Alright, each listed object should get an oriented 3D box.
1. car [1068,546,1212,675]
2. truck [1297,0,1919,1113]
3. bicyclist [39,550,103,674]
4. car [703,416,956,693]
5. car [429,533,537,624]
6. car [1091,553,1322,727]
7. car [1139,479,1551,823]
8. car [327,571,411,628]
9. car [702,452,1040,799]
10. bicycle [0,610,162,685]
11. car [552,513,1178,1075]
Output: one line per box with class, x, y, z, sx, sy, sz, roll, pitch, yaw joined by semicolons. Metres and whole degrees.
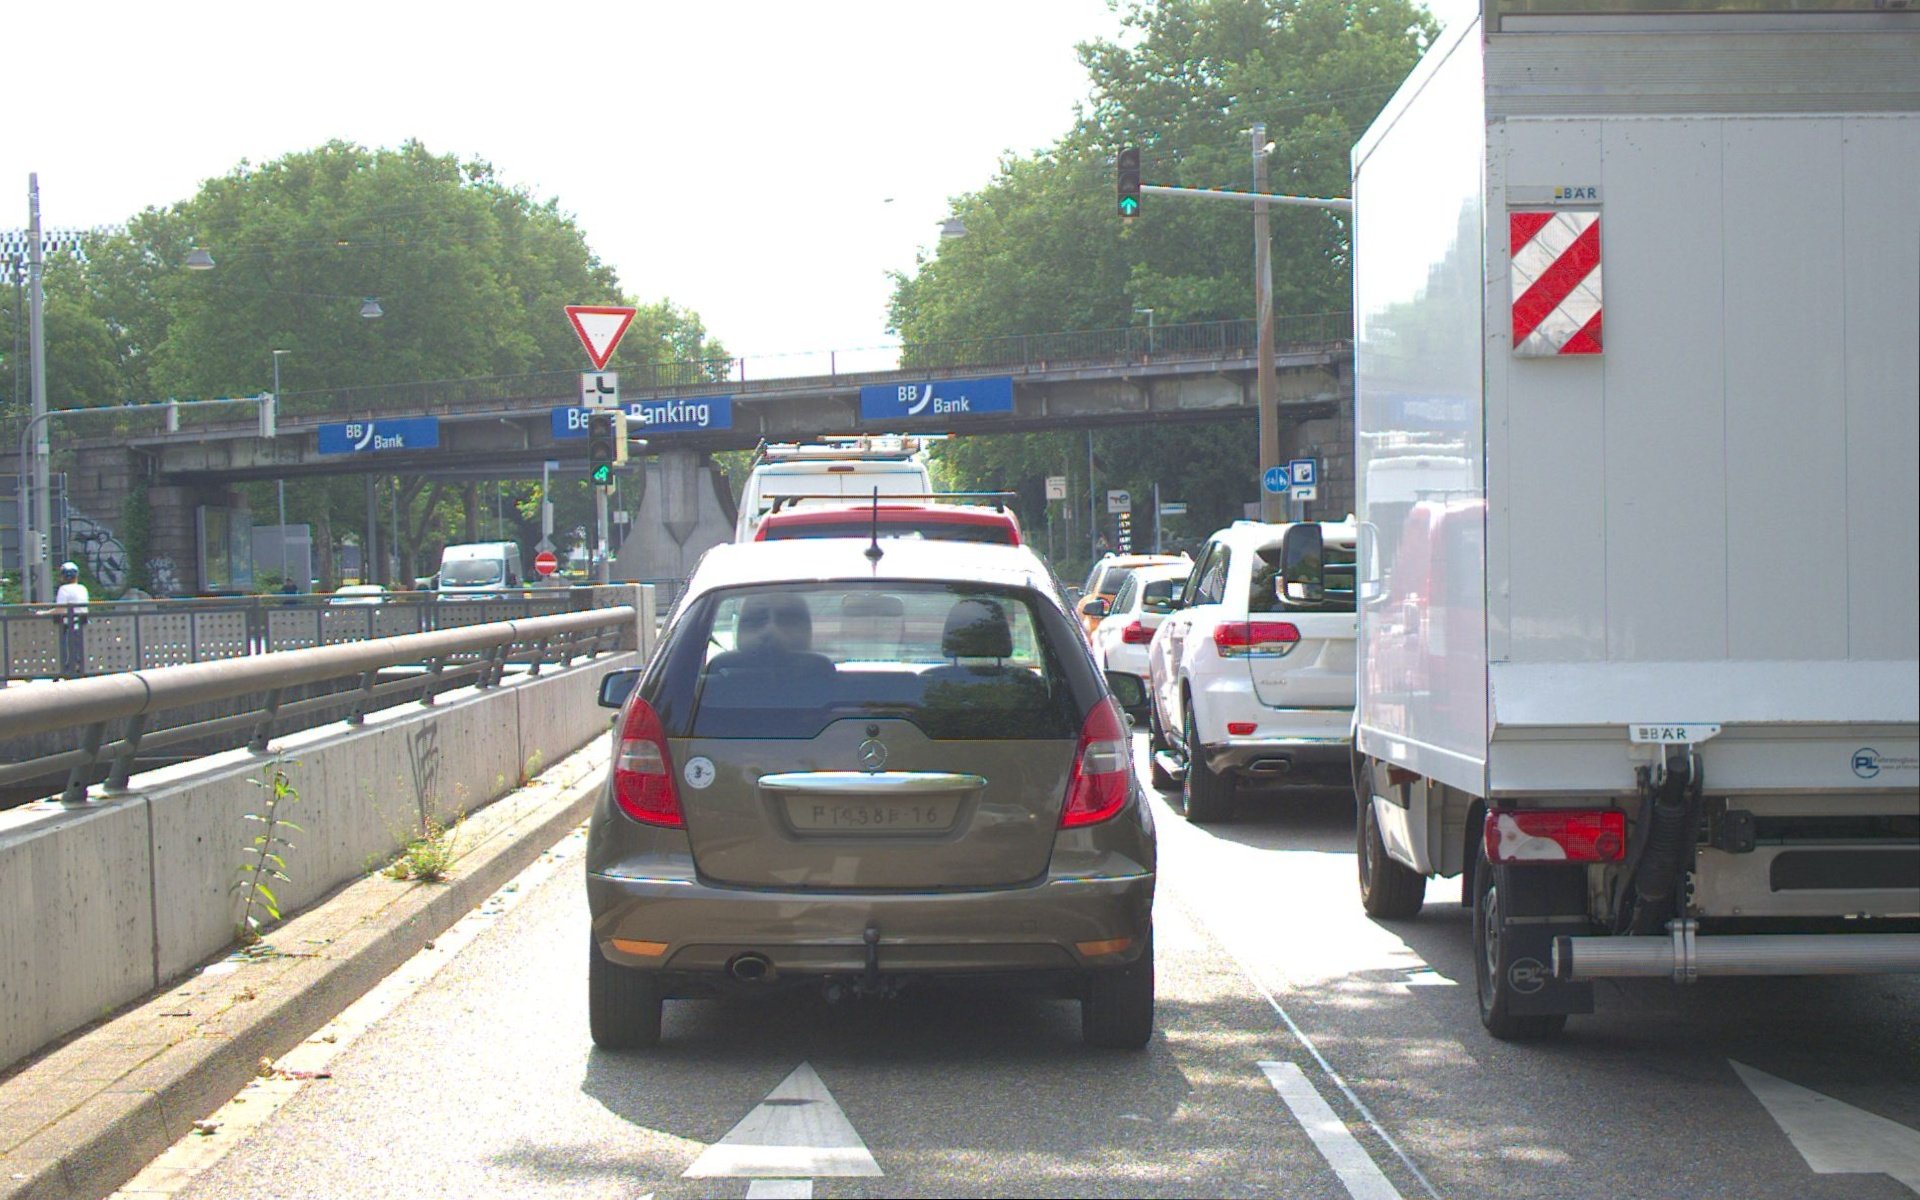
car;2.172;0.134;42.245;1.544;1.516;3.617;0;0;-1
truck;2.680;-0.196;12.264;2.447;3.110;6.028;0;0;1
bicyclist;-10.198;0.131;39.461;0.510;1.399;0.626;-1;0;4
car;-1.461;-0.433;36.315;2.197;2.717;4.932;0;0;-8
car;-13.852;-0.636;100.200;2.258;2.518;5.626;-1;1;1
car;2.226;0.359;31.897;1.852;1.516;3.617;0;0;-1
car;2.245;0.292;21.244;1.995;1.895;4.509;0;0;-1
car;-16.797;-0.029;97.825;1.702;1.471;4.000;-4;1;-2
car;-0.545;0.135;22.323;1.955;2.010;4.677;0;0;-1
bicycle;-10.223;0.543;39.473;1.972;0.823;0.612;0;0;3
car;-0.295;0.532;11.904;1.792;1.603;3.799;1;1;-1
